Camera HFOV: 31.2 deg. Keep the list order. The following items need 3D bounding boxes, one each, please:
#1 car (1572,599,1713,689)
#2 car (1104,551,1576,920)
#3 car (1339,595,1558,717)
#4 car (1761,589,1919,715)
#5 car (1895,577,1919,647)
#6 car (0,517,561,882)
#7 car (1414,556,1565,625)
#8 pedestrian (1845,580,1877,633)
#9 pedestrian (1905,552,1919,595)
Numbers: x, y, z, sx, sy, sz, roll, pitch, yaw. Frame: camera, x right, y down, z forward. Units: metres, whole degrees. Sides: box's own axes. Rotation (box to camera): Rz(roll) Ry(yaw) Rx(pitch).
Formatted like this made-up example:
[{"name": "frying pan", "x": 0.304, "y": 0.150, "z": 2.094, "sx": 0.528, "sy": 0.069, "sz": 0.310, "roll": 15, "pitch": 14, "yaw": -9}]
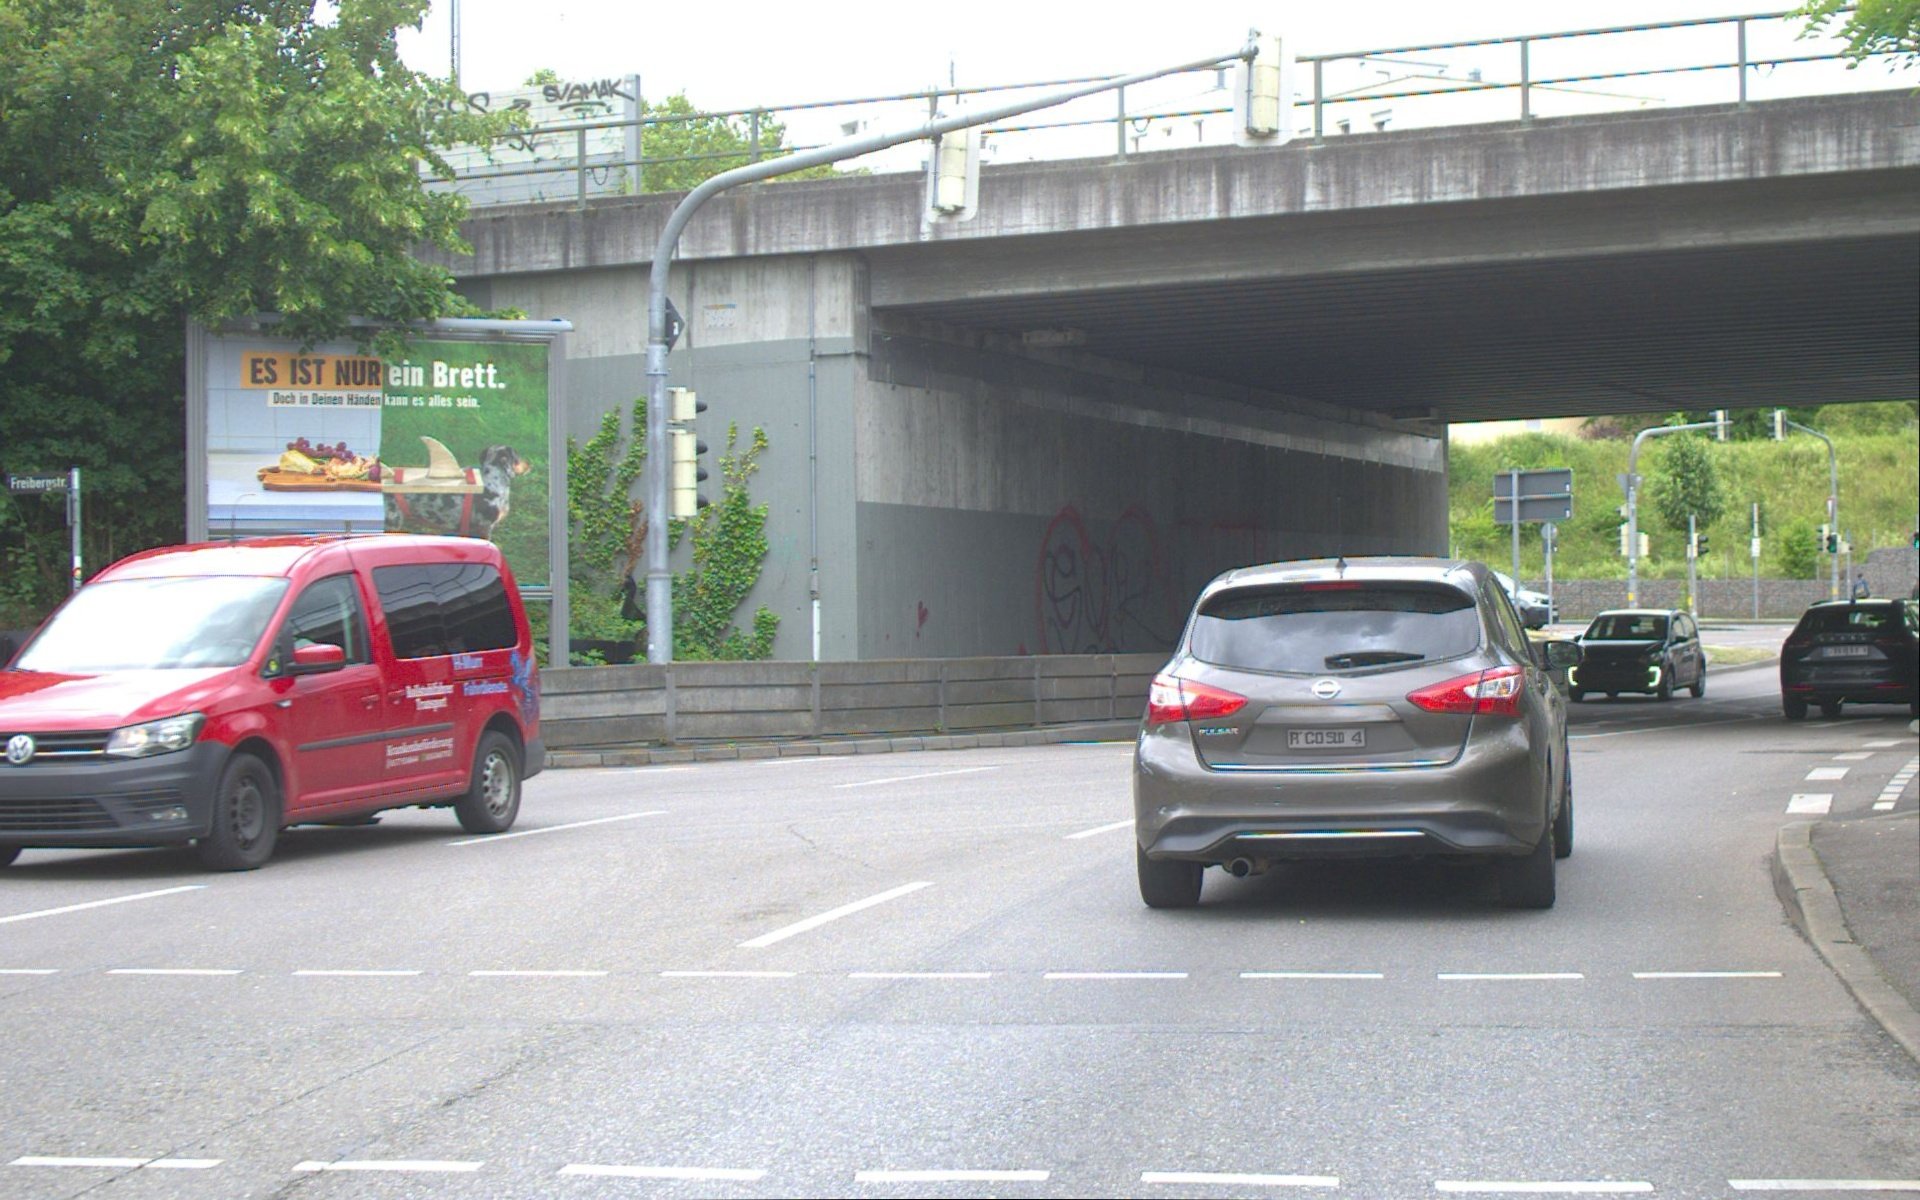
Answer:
[{"name": "car", "x": 11.179, "y": 0.720, "z": 56.146, "sx": 1.725, "sy": 1.405, "sz": 3.996, "roll": -1, "pitch": -1, "yaw": 19}, {"name": "car", "x": 1.893, "y": 0.566, "z": 16.012, "sx": 1.845, "sy": 1.488, "sz": 3.998, "roll": 0, "pitch": 0, "yaw": 11}, {"name": "car", "x": 6.303, "y": 0.683, "z": 43.980, "sx": 1.818, "sy": 1.472, "sz": 4.132, "roll": 0, "pitch": 0, "yaw": 22}, {"name": "car", "x": 11.202, "y": 0.610, "z": 42.712, "sx": 1.902, "sy": 1.461, "sz": 3.996, "roll": 0, "pitch": 0, "yaw": 21}, {"name": "car", "x": 23.541, "y": 0.294, "z": 81.906, "sx": 1.785, "sy": 1.654, "sz": 4.103, "roll": 0, "pitch": -1, "yaw": 25}, {"name": "car", "x": -4.051, "y": 0.479, "z": 19.662, "sx": 1.689, "sy": 1.819, "sz": 4.722, "roll": 0, "pitch": 0, "yaw": 18}, {"name": "car", "x": 15.554, "y": -0.271, "z": 100.968, "sx": 3.991, "sy": 1.941, "sz": 1.998, "roll": -1, "pitch": 0, "yaw": 22}, {"name": "pedestrian", "x": 27.823, "y": 0.196, "z": 106.139, "sx": 0.953, "sy": 1.607, "sz": 0.699, "roll": 0, "pitch": 0, "yaw": 15}, {"name": "pedestrian", "x": 28.329, "y": -0.771, "z": 101.176, "sx": 0.911, "sy": 1.219, "sz": 0.729, "roll": 3, "pitch": 2, "yaw": 16}]
